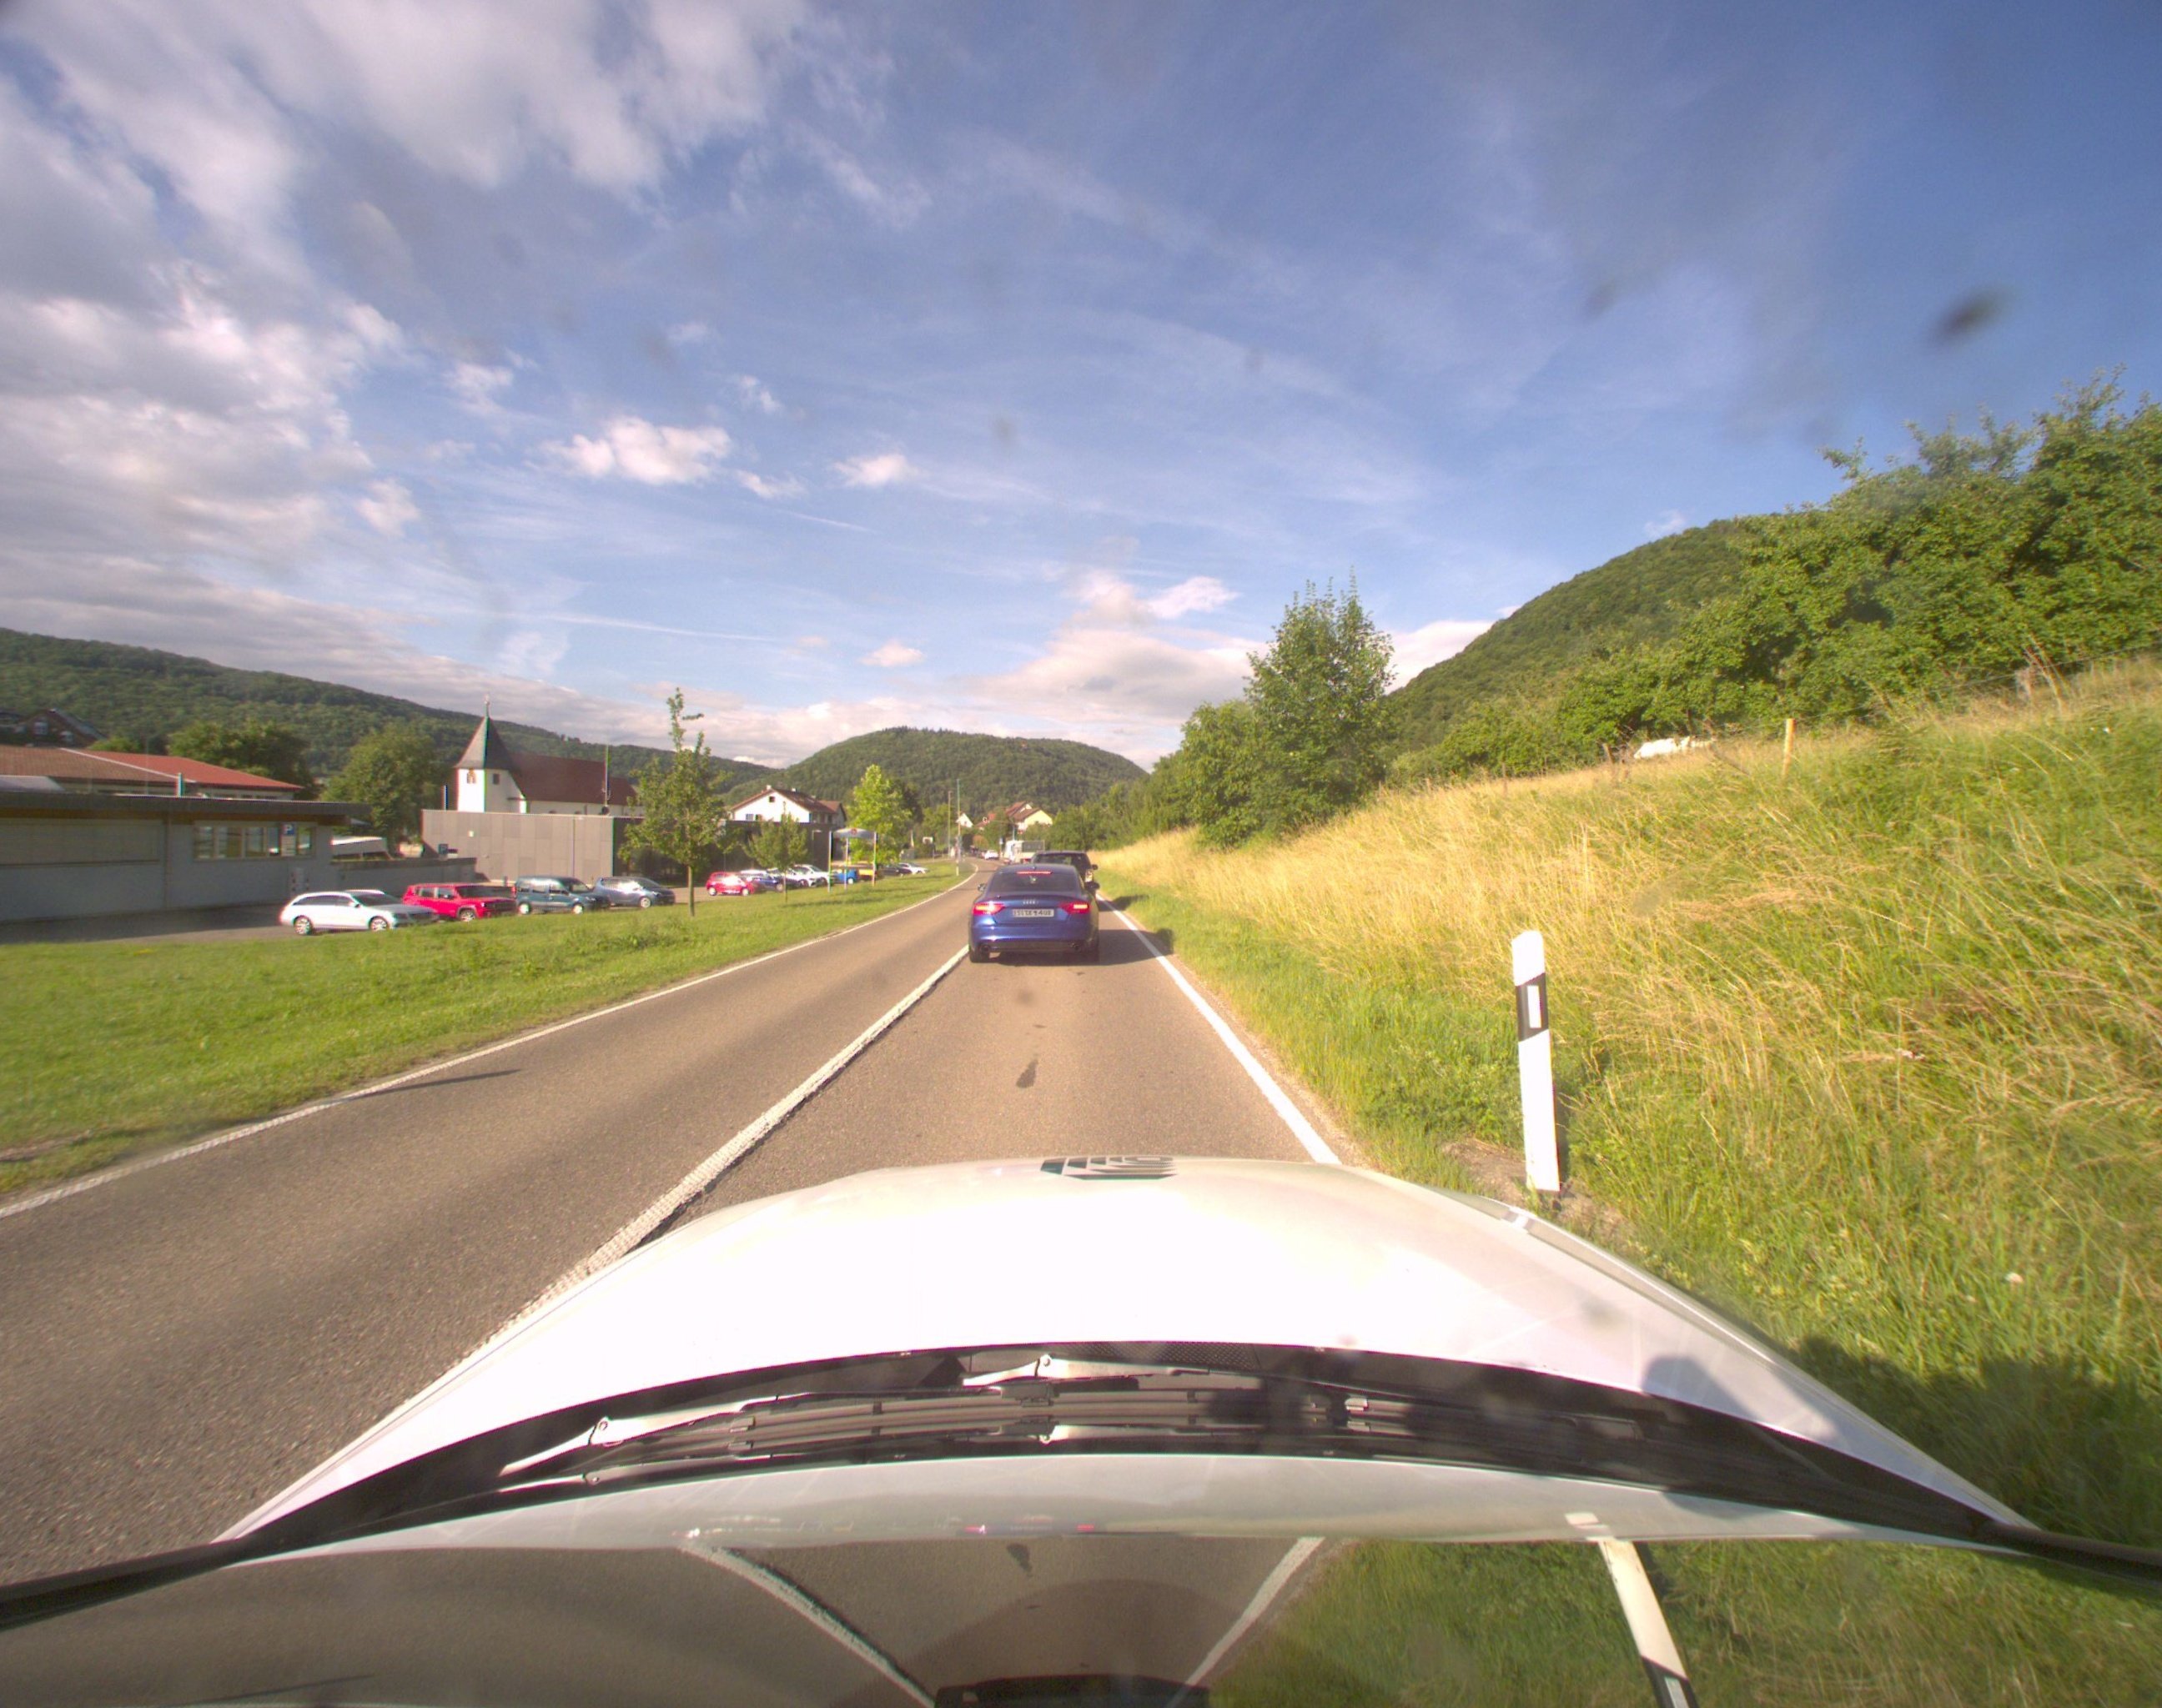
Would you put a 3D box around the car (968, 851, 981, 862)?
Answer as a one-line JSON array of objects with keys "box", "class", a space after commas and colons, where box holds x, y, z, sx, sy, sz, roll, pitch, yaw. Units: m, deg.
[{"box": [-19.249, 0.523, 146.599, 1.680, 1.924, 3.978, -2, 0, -16], "class": "car"}]

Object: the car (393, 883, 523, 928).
[{"box": [-24.618, 2.030, 32.238, 3.899, 1.579, 1.759, -1, 0, 6], "class": "car"}]

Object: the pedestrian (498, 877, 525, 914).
[{"box": [-26.824, 1.959, 38.375, 0.792, 1.693, 0.704, 0, 0, -4], "class": "pedestrian"}]

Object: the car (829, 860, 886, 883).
[{"box": [-19.899, 1.544, 72.602, 4.528, 1.815, 1.845, -2, 0, 7], "class": "car"}]

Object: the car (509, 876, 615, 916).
[{"box": [-24.038, 1.934, 37.797, 3.844, 1.722, 1.758, 0, 0, 4], "class": "car"}]

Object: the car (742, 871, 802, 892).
[{"box": [-21.798, 1.933, 57.460, 3.605, 1.405, 1.600, -1, -1, 7], "class": "car"}]

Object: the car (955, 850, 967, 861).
[{"box": [-23.969, 0.315, 162.044, 1.682, 1.924, 3.975, -2, 0, -18], "class": "car"}]

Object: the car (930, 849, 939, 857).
[{"box": [-35.261, -0.227, 196.104, 1.681, 1.924, 3.976, -2, 0, -17], "class": "car"}]

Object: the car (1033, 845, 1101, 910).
[{"box": [-0.450, 0.590, 22.176, 1.643, 1.625, 3.511, 0, 0, -5], "class": "car"}]

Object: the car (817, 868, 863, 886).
[{"box": [-20.670, 1.933, 69.993, 3.358, 1.373, 1.660, -2, 0, 0], "class": "car"}]

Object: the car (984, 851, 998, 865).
[{"box": [-13.057, 0.570, 118.198, 1.660, 1.924, 3.986, -2, 0, -10], "class": "car"}]

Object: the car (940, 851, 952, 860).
[{"box": [-29.561, 0.313, 178.509, 1.961, 1.924, 3.973, -2, 0, -20], "class": "car"}]

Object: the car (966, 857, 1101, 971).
[{"box": [-0.661, 0.781, 12.274, 1.738, 1.450, 3.514, 0, 0, -2], "class": "car"}]

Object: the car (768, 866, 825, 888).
[{"box": [-21.160, 1.739, 60.671, 3.646, 1.493, 1.600, -1, 1, 7], "class": "car"}]

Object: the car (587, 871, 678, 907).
[{"box": [-23.302, 1.829, 42.365, 3.798, 1.722, 1.735, -1, 0, 6], "class": "car"}]

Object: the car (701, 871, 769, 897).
[{"box": [-22.232, 1.921, 52.432, 3.605, 1.444, 1.652, -2, 0, 7], "class": "car"}]

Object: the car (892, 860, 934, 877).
[{"box": [-17.925, 1.512, 86.906, 4.013, 1.660, 1.659, -2, 0, 7], "class": "car"}]

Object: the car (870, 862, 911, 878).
[{"box": [-19.242, 1.602, 82.470, 3.692, 1.439, 1.512, -2, 0, 7], "class": "car"}]

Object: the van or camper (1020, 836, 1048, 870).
[{"box": [-3.763, -0.075, 64.841, 2.049, 2.505, 5.801, -2, 0, -5], "class": "van or camper"}]

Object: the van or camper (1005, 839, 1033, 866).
[{"box": [-6.520, -0.148, 85.073, 2.280, 2.713, 5.748, -2, 0, -9], "class": "van or camper"}]

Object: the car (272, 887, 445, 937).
[{"box": [-25.875, 2.063, 29.253, 4.616, 1.589, 2.004, -1, 0, 6], "class": "car"}]

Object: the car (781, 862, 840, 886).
[{"box": [-21.232, 1.553, 64.052, 4.055, 1.673, 1.600, -1, 1, 7], "class": "car"}]

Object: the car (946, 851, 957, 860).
[{"box": [-27.233, 0.328, 170.586, 1.681, 1.924, 3.976, -2, 0, -17], "class": "car"}]

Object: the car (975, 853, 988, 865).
[{"box": [-15.565, 0.781, 127.407, 1.661, 1.924, 3.984, -2, 0, -12], "class": "car"}]
